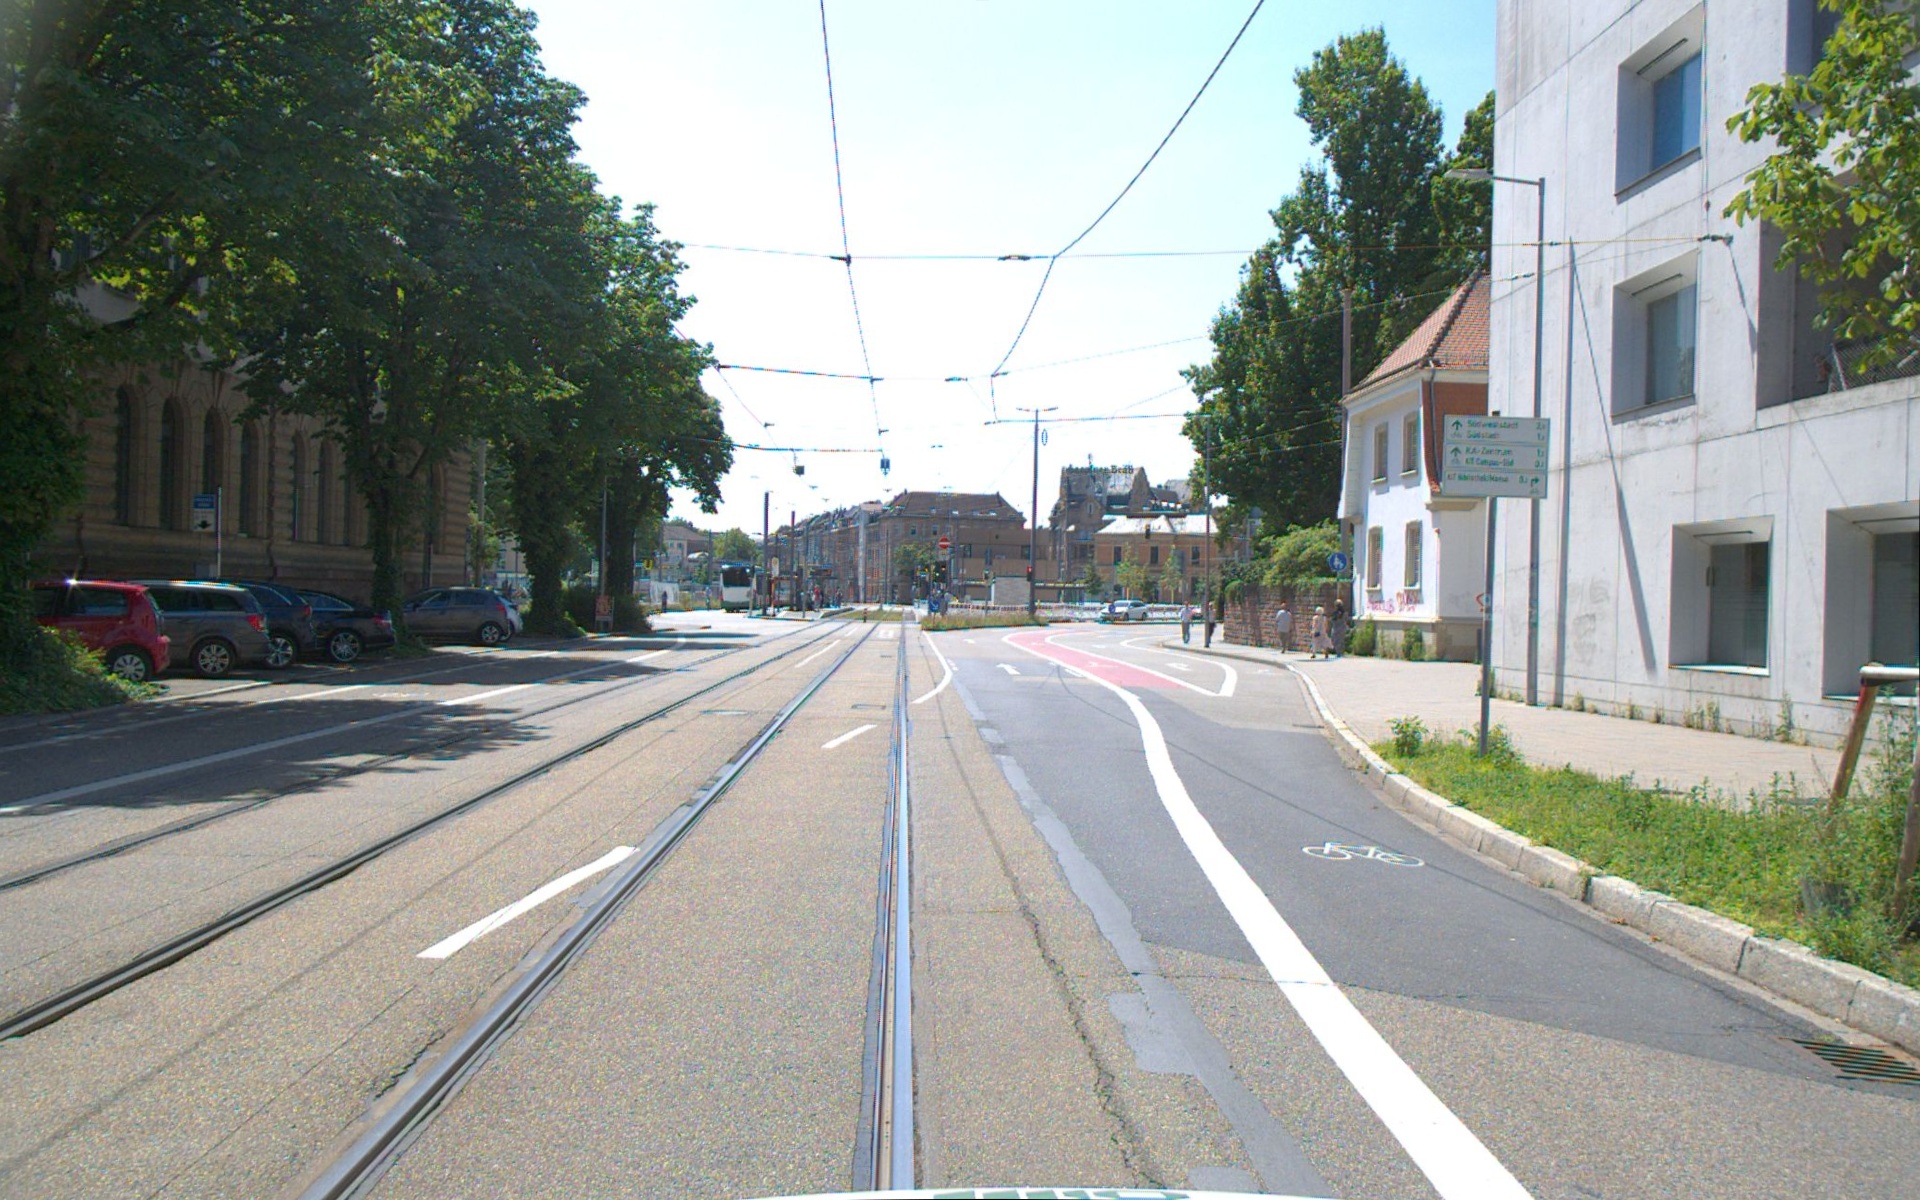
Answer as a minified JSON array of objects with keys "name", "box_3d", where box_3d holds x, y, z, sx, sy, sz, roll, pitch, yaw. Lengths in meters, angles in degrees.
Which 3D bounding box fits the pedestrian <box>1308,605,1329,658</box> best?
[{"name":"pedestrian","box_3d":[10.772,0.945,49.662,0.504,1.559,0.598,1,0,3]}]

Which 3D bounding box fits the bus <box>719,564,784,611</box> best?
[{"name":"bus","box_3d":[-15.294,-0.911,122.556,2.949,3.213,17.493,1,0,-1]}]

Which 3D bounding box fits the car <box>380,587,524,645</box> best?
[{"name":"car","box_3d":[-13.998,0.444,45.585,3.501,1.430,1.685,2,-1,-31]}]

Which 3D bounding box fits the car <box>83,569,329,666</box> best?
[{"name":"car","box_3d":[-13.313,0.319,29.234,3.768,1.604,1.775,2,0,-32]}]

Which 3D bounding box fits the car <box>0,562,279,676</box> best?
[{"name":"car","box_3d":[-13.279,0.312,26.323,4.265,1.612,1.652,3,-1,-32]}]

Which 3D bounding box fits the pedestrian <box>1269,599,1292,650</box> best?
[{"name":"pedestrian","box_3d":[10.769,0.820,55.656,0.647,1.676,0.624,1,0,3]}]

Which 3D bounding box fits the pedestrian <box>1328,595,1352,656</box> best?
[{"name":"pedestrian","box_3d":[11.510,0.772,50.143,0.613,1.804,0.719,-1,1,9]}]

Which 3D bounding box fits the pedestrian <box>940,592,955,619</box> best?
[{"name":"pedestrian","box_3d":[-0.885,0.389,120.667,0.761,1.897,0.719,3,-2,-43]}]

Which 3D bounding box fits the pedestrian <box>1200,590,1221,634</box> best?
[{"name":"pedestrian","box_3d":[10.642,0.508,70.234,0.797,1.839,0.700,1,0,2]}]

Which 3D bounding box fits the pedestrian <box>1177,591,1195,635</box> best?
[{"name":"pedestrian","box_3d":[9.617,0.540,70.470,0.663,1.839,0.748,1,0,2]}]

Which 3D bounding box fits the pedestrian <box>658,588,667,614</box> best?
[{"name":"pedestrian","box_3d":[-20.148,0.050,112.133,0.556,1.735,0.397,1,0,-9]}]

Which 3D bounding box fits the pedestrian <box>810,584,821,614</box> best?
[{"name":"pedestrian","box_3d":[-9.658,-0.058,110.554,0.661,1.943,0.639,1,0,-12]}]

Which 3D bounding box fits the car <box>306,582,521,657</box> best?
[{"name":"car","box_3d":[-10.955,0.397,33.173,3.875,1.398,1.654,1,0,-28]}]

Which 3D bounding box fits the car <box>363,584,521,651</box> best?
[{"name":"car","box_3d":[-13.485,0.465,43.100,3.626,1.546,1.652,3,-1,-31]}]

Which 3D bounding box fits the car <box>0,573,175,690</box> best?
[{"name":"car","box_3d":[-12.936,0.421,23.297,3.303,1.542,1.654,3,-1,-28]}]

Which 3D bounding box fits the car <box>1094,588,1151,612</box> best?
[{"name":"car","box_3d":[10.981,0.017,111.442,1.957,1.463,4.694,1,-1,31]}]
